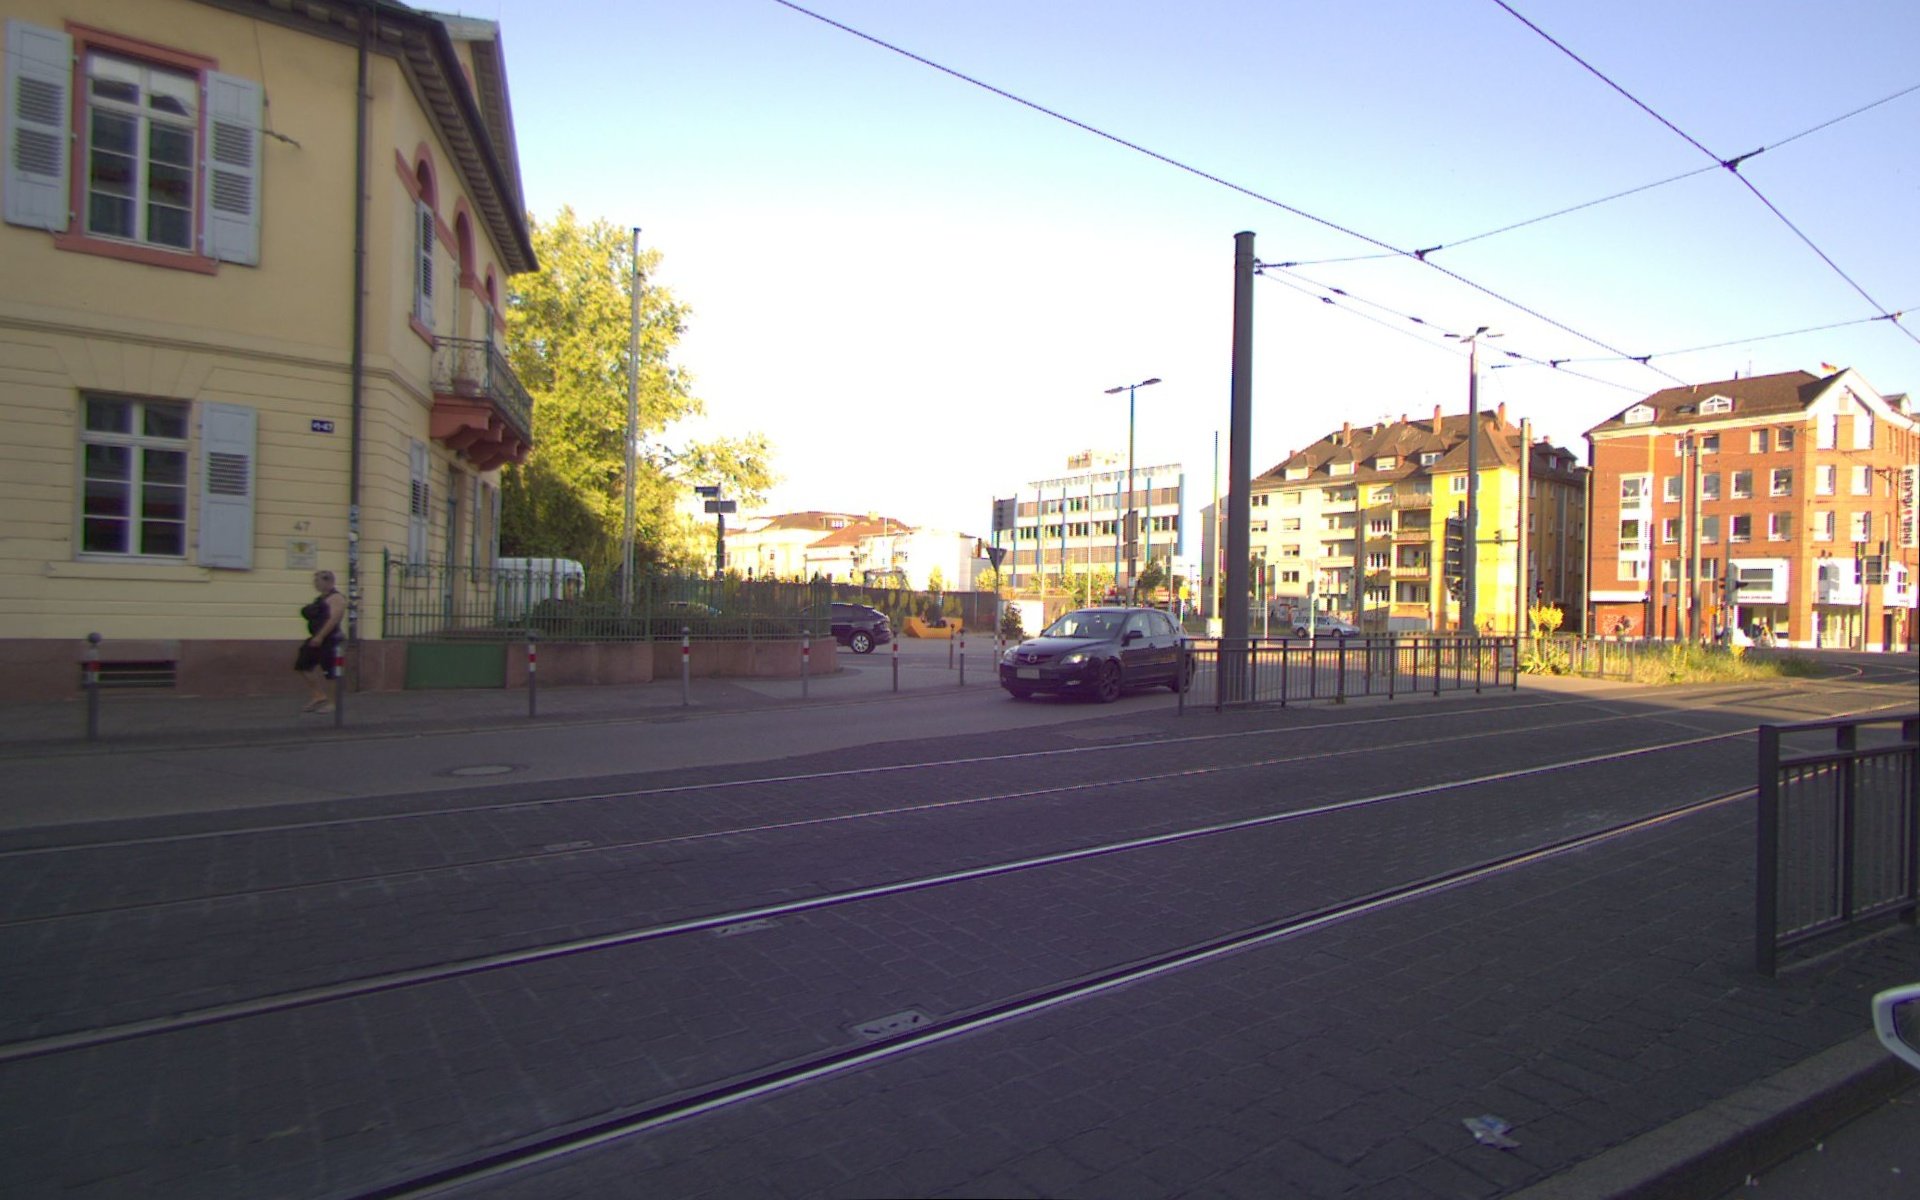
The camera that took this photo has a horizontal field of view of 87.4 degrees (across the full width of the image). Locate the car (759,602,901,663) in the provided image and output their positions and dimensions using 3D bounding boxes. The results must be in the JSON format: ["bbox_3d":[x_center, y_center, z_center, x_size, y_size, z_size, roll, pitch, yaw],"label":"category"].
[{"bbox_3d":[-3.860,0.958,30.313,3.920,1.567,2.000,3,1,2],"label":"car"}]

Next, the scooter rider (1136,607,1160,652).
[{"bbox_3d":[6.865,1.065,36.706,0.577,1.614,0.655,3,1,36],"label":"scooter rider"}]

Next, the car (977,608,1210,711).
[{"bbox_3d":[2.276,0.888,16.220,1.746,1.394,4.202,1,0,40],"label":"car"}]

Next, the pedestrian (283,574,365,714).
[{"bbox_3d":[-7.397,0.499,11.682,0.713,1.556,0.714,2,-1,-38],"label":"pedestrian"}]

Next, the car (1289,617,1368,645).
[{"bbox_3d":[23.290,1.966,63.569,1.984,1.572,4.300,2,0,-40],"label":"car"}]

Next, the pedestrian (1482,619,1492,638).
[{"bbox_3d":[46.179,2.476,87.958,0.496,1.664,0.547,2,1,-35],"label":"pedestrian"}]

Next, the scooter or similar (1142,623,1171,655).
[{"bbox_3d":[7.065,1.401,36.066,0.419,1.097,1.620,3,1,32],"label":"scooter or similar"}]

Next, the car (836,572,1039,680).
[{"bbox_3d":[-0.526,0.494,21.038,3.941,2.040,1.990,1,-1,41],"label":"car"}]

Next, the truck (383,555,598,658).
[{"bbox_3d":[-14.012,0.164,30.211,5.358,2.735,2.196,3,1,1],"label":"truck"}]

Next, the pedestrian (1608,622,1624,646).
[{"bbox_3d":[48.431,2.504,74.194,0.656,1.766,0.689,3,0,-10],"label":"pedestrian"}]

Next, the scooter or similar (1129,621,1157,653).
[{"bbox_3d":[6.644,1.331,36.397,0.419,1.077,1.620,3,1,32],"label":"scooter or similar"}]

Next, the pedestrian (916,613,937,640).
[{"bbox_3d":[-1.590,1.256,47.721,0.697,1.227,0.719,2,1,-35],"label":"pedestrian"}]
